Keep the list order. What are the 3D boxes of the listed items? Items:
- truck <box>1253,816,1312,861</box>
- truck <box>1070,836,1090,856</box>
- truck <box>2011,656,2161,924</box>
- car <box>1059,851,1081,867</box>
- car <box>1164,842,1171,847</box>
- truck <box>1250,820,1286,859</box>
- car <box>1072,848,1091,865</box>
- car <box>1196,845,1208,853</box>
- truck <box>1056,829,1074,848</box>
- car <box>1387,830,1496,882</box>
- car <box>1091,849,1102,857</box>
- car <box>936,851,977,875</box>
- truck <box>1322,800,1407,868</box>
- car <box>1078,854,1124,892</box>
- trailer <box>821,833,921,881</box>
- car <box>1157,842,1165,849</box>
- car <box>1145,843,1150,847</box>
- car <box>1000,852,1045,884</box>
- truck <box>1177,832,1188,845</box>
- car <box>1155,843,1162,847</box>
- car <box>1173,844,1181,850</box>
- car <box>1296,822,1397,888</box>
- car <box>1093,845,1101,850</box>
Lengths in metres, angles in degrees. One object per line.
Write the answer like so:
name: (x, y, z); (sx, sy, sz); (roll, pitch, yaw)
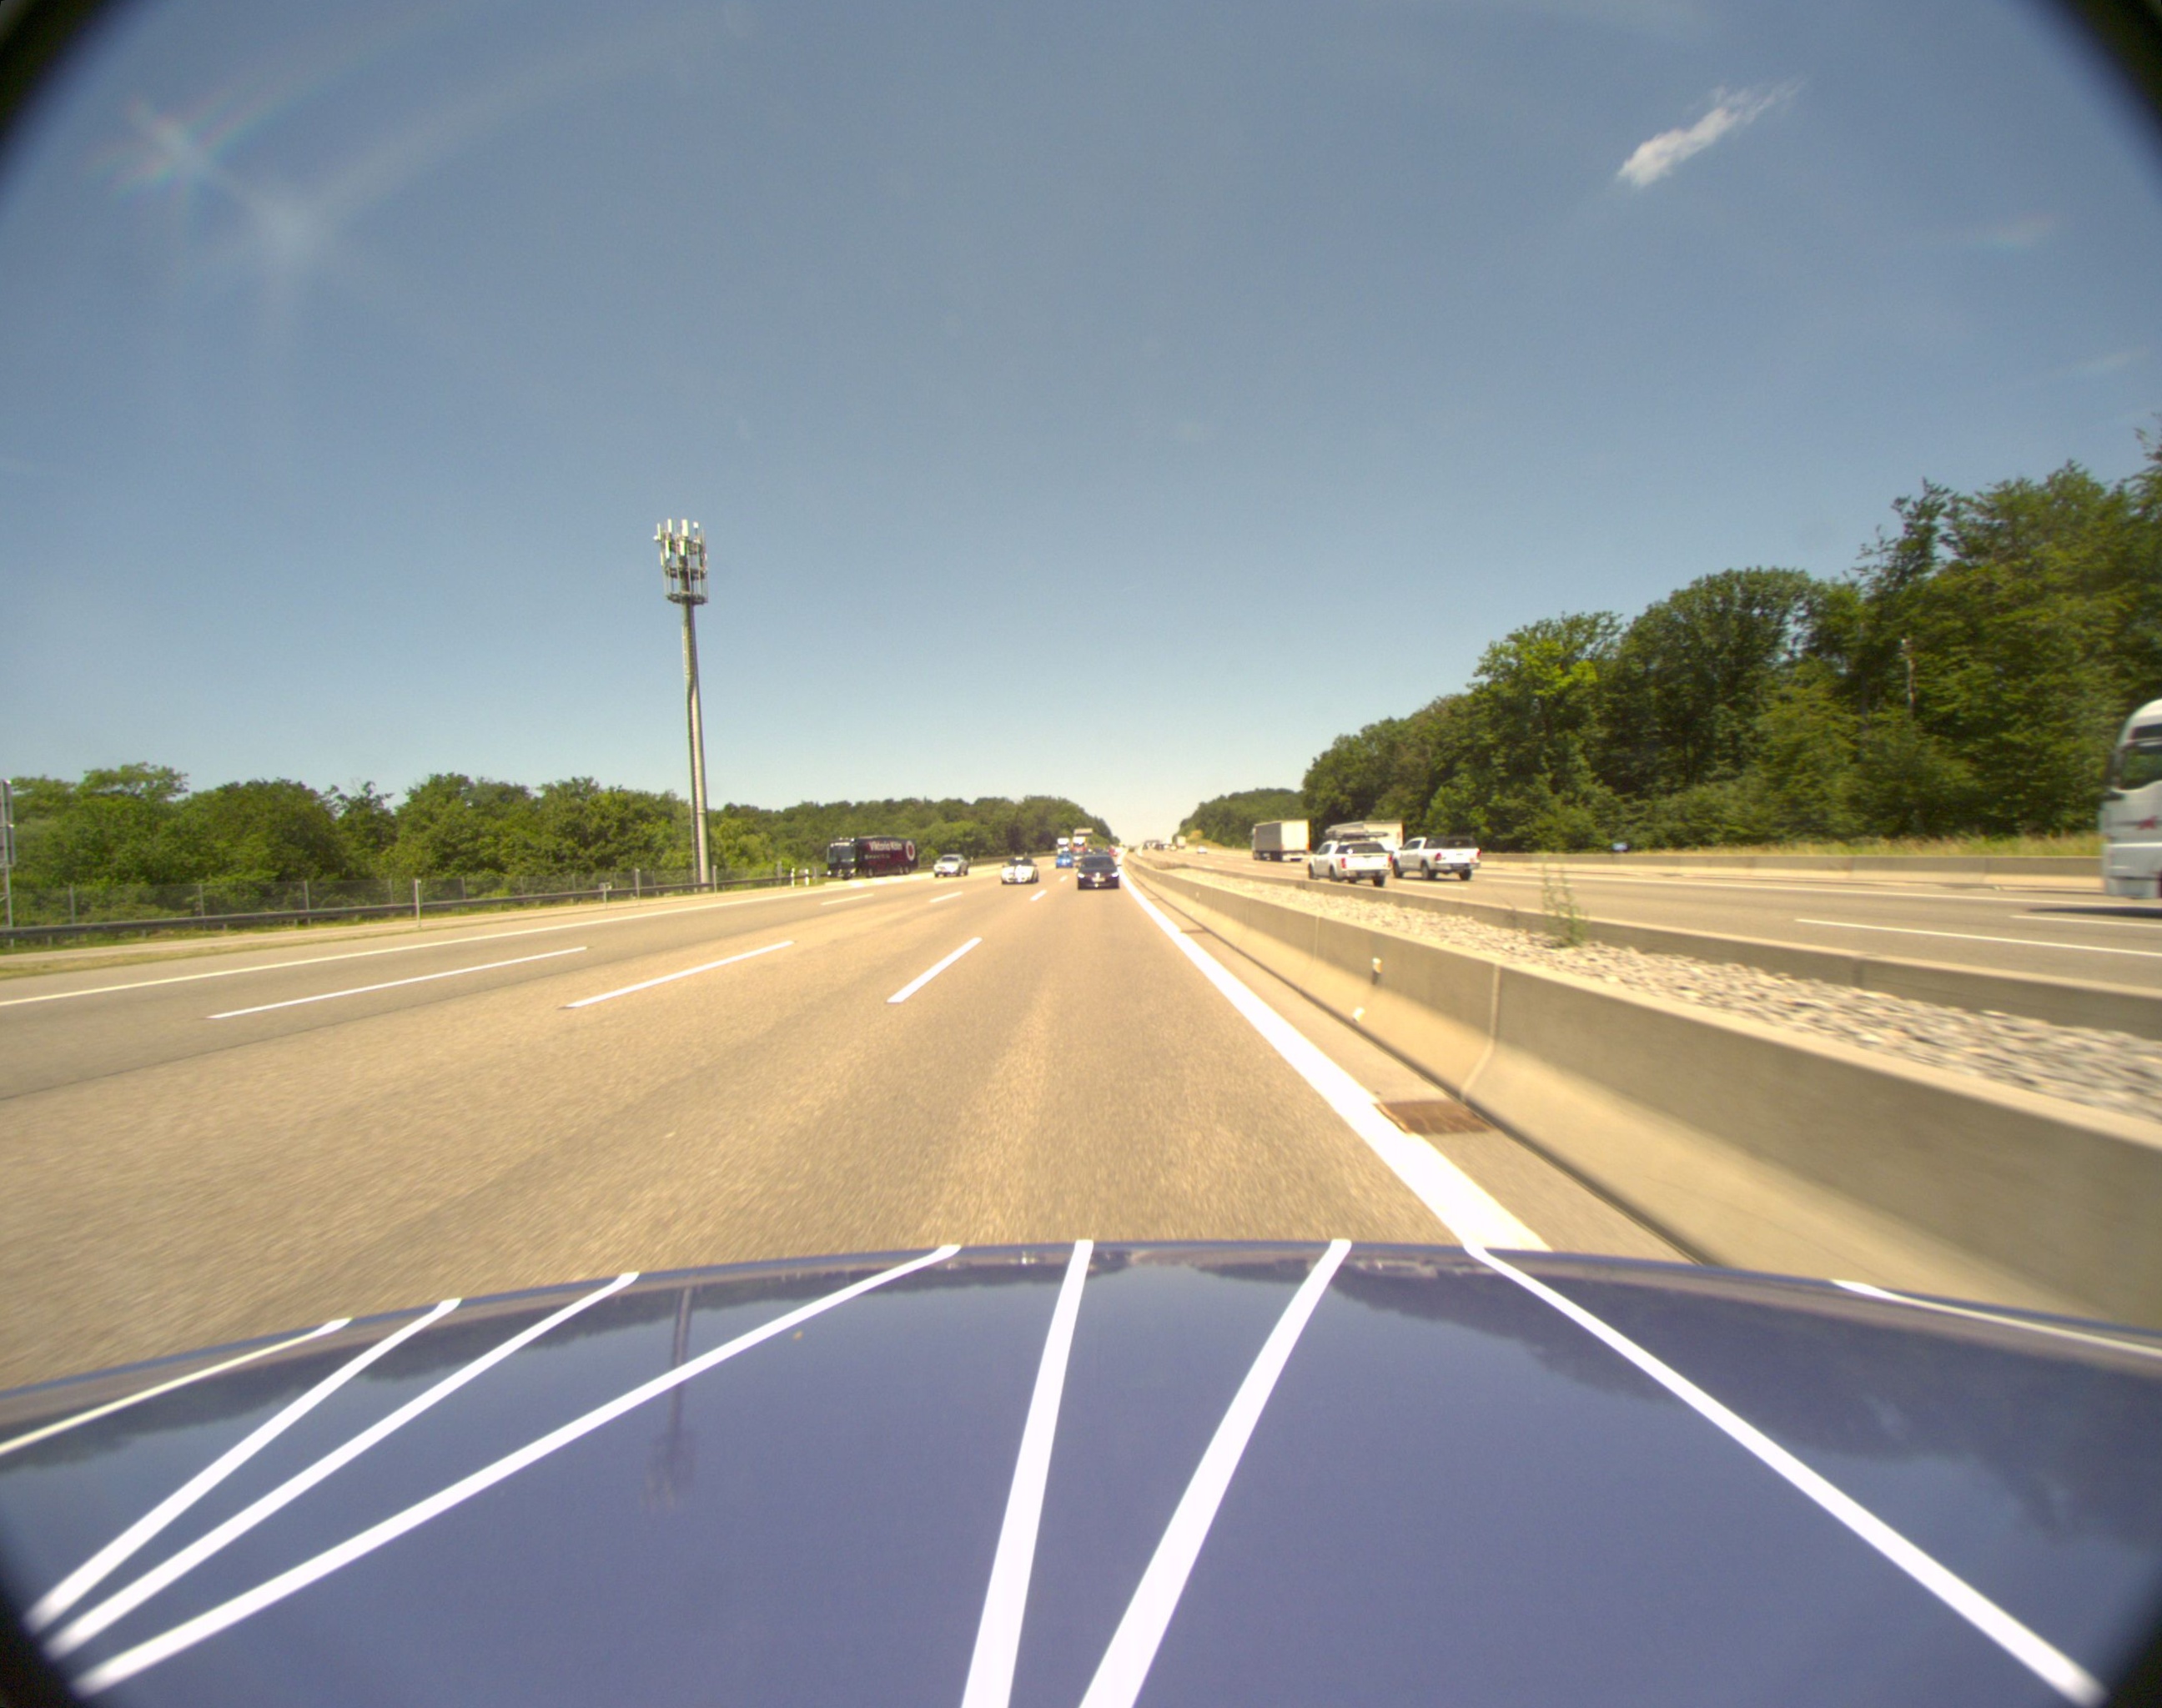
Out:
truck: (20.905, -1.572, 79.791); (2.764, 4.153, 14.509); (-2, 1, 2)
truck: (-0.138, -1.743, 162.113); (3.017, 3.957, 7.544); (-4, -1, 7)
truck: (18.683, -1.072, 10.889); (2.507, 4.325, 6.605); (-2, 0, 0)
car: (-1.029, 0.436, 75.656); (1.741, 1.403, 4.001); (-3, 1, 5)
car: (29.100, -3.147, 254.888); (1.877, 1.526, 4.136); (-5, 1, 3)
truck: (21.207, -1.628, 86.518); (2.688, 4.153, 6.231); (-2, 1, 3)
car: (0.118, 0.317, 102.121); (1.966, 2.041, 4.785); (-4, 0, 5)
car: (24.978, -1.065, 156.645); (1.877, 1.472, 4.813); (-3, 1, 3)
truck: (-3.775, -3.669, 179.644); (2.728, 4.136, 10.973); (-4, 0, 5)
car: (15.130, 0.076, 32.311); (1.998, 1.958, 5.737); (-2, 0, 1)
car: (3.351, -0.295, 161.315); (1.909, 1.503, 4.161); (-4, 0, 6)
car: (-9.349, 0.649, 57.577); (1.805, 1.721, 5.241); (-2, 0, 5)
truck: (19.075, -1.303, 51.847); (2.537, 4.153, 9.620); (-2, 1, 3)
car: (0.924, 0.764, 32.955); (1.777, 1.425, 4.144); (-3, 0, 3)
trailer: (-17.916, 0.046, 66.346); (2.863, 3.667, 13.548); (-2, 1, 9)
car: (22.721, -2.330, 215.605); (1.877, 1.929, 5.775); (-2, 1, 3)
car: (22.136, -3.014, 253.344); (1.605, 1.460, 4.505); (-2, 1, 3)
car: (-3.092, 0.718, 41.104); (1.845, 1.543, 4.000); (-3, 1, 3)
truck: (32.258, -5.004, 242.006); (2.696, 4.002, 14.299); (-2, 1, 4)
car: (25.273, -2.965, 247.270); (1.877, 1.467, 5.112); (-2, 1, 4)
car: (25.724, -1.939, 203.371); (1.877, 1.526, 4.813); (-2, 1, 3)
car: (10.141, 0.011, 29.570); (1.998, 2.275, 5.765); (-2, 0, 1)
car: (4.713, -1.925, 227.795); (1.909, 1.503, 4.161); (-4, 0, 6)
